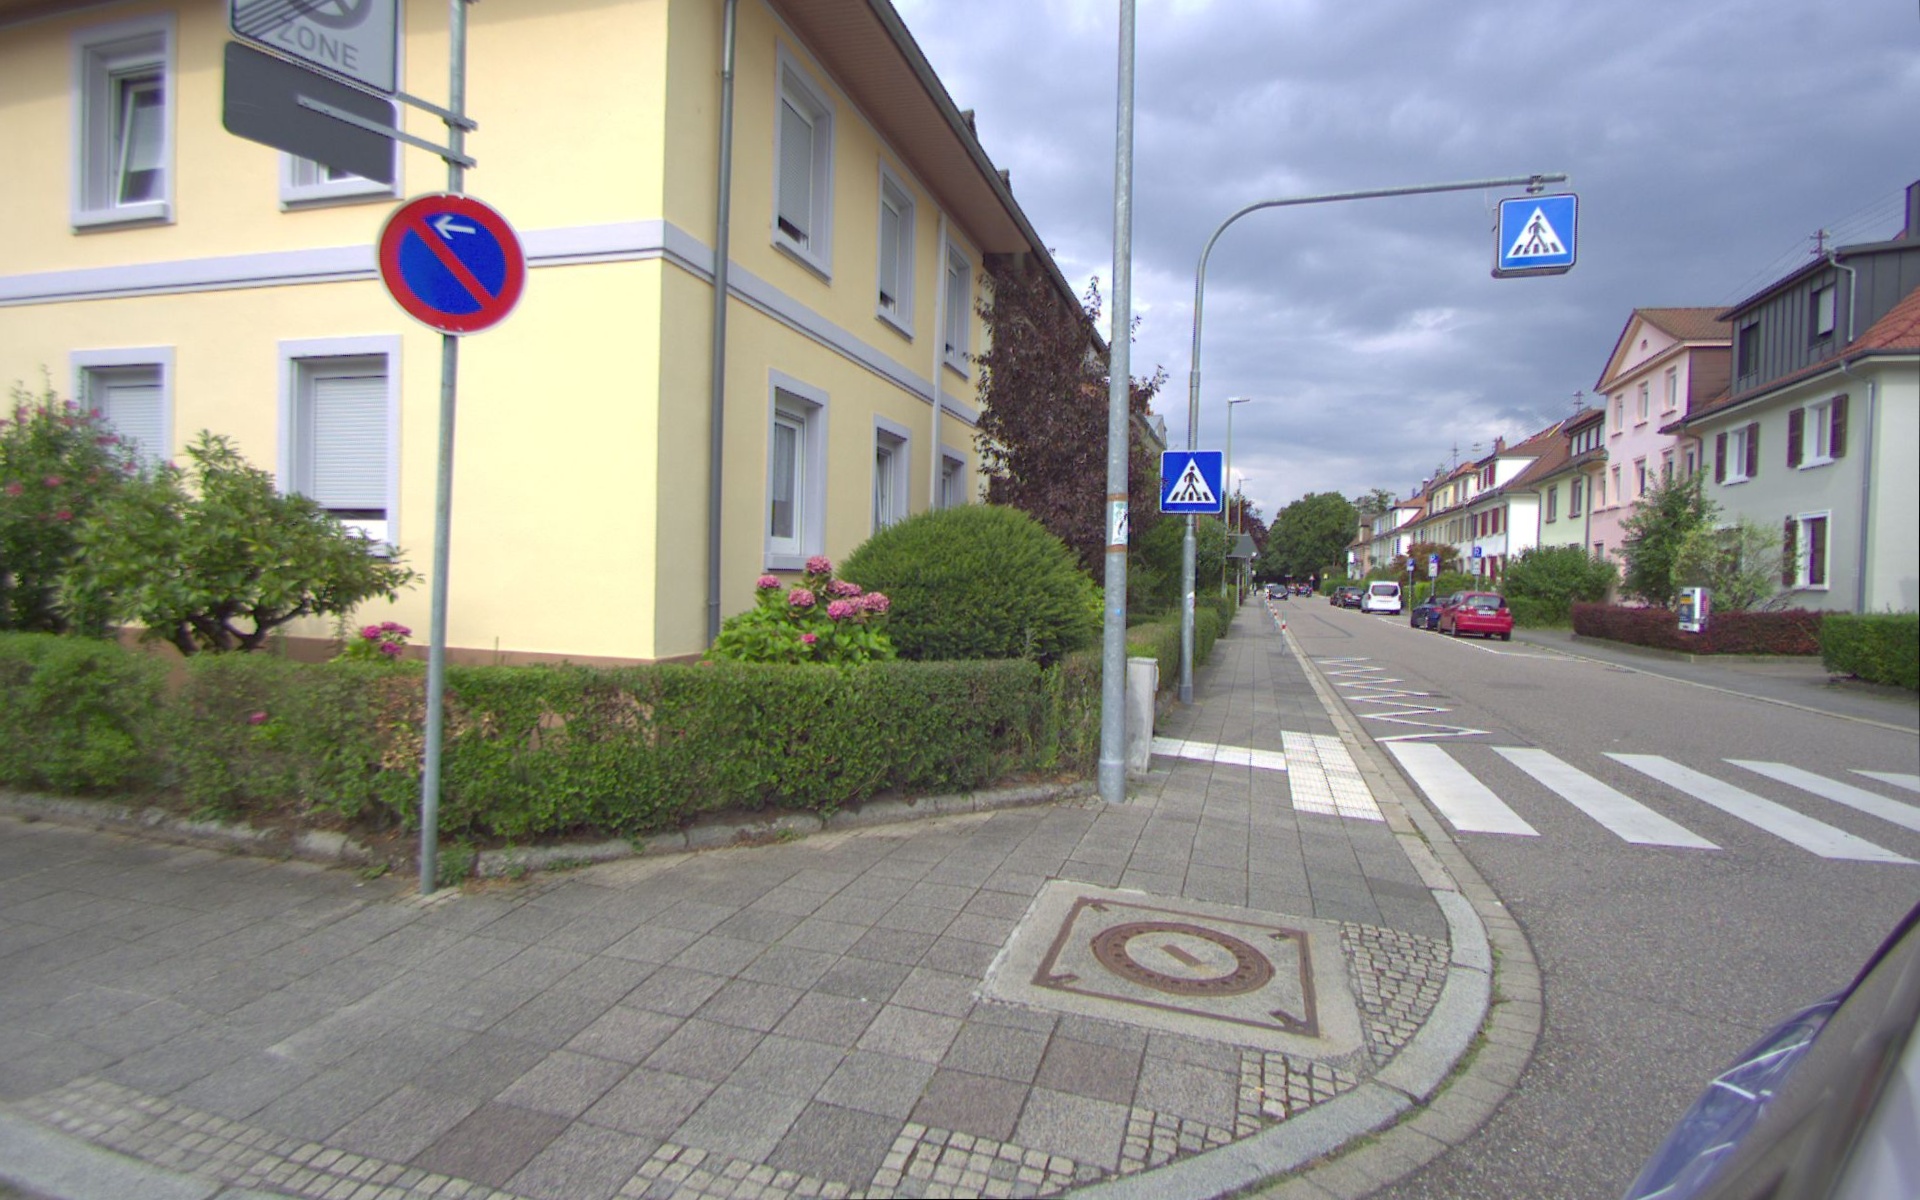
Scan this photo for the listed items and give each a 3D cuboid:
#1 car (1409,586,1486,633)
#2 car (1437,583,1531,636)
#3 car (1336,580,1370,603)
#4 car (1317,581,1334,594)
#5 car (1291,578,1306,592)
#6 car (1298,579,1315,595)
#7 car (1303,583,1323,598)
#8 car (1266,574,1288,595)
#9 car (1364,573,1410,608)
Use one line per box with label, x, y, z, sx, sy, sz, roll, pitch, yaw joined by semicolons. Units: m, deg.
car;18.455;0.312;38.495;1.973;1.593;3.980;2;1;16
car;17.214;0.254;33.434;1.973;1.593;3.980;2;1;16
car;29.322;-0.650;75.558;1.973;1.593;3.980;2;1;16
car;44.123;-1.472;122.128;1.478;1.483;3.082;3;2;12
car;51.883;-2.321;155.096;1.972;2.038;3.981;2;1;16
car;47.480;-1.770;138.596;1.973;2.038;3.979;3;2;17
car;44.406;-1.230;127.402;1.708;1.727;3.987;3;2;12
car;31.387;-1.538;100.154;1.973;2.038;3.979;2;1;17
car;25.373;-0.596;60.251;1.973;1.927;3.980;2;1;16
